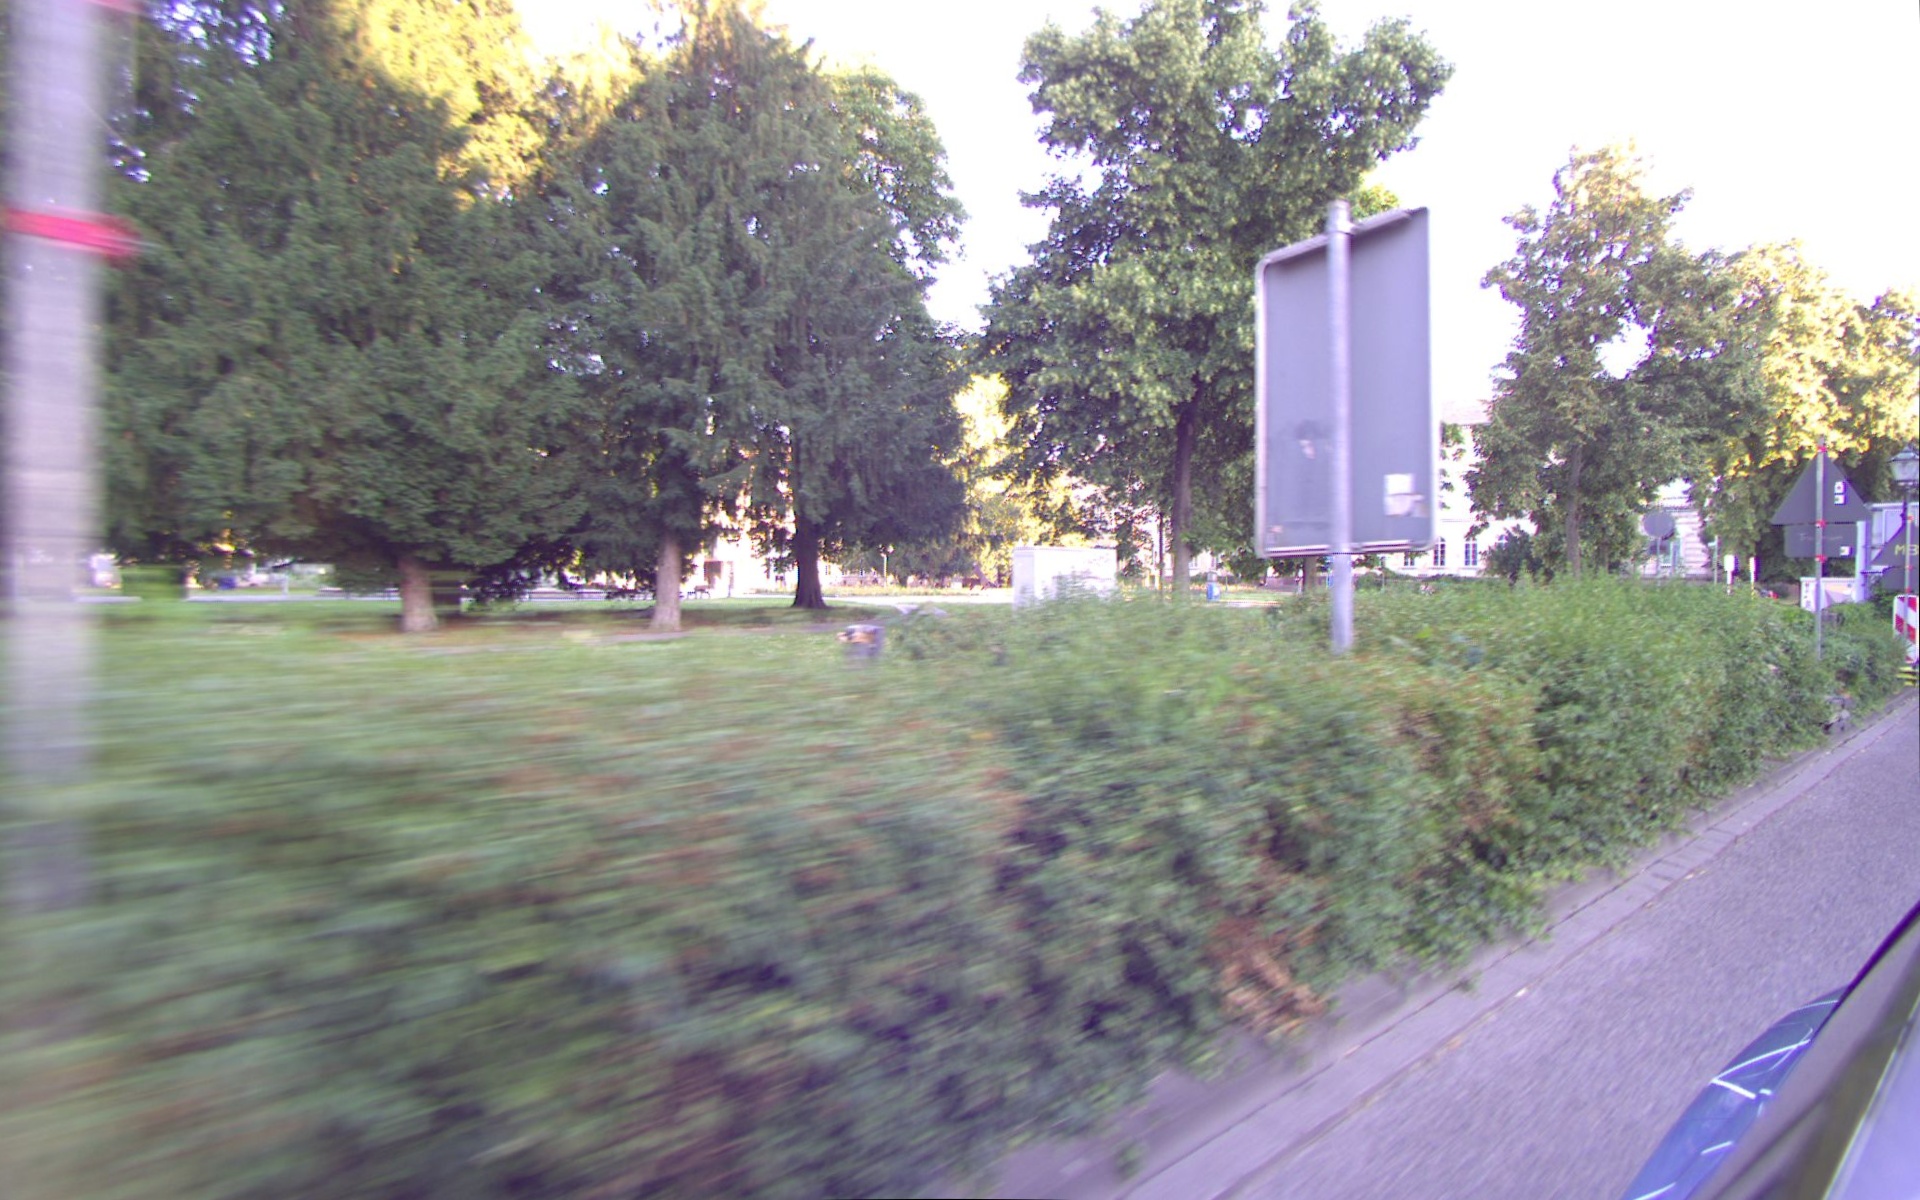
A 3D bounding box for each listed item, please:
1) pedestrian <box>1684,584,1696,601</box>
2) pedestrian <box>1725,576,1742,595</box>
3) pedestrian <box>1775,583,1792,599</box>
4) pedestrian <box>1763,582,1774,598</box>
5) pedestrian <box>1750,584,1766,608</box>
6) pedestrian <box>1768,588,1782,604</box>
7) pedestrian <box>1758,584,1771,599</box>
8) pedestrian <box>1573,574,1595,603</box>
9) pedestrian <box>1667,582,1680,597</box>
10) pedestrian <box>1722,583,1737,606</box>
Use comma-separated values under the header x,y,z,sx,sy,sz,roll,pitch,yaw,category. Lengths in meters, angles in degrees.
x,y,z,sx,sy,sz,roll,pitch,yaw,category
52.238,-0.518,72.422,0.594,1.217,0.394,1,1,8,pedestrian
59.664,-1.102,78.029,0.742,1.462,0.815,1,1,14,pedestrian
56.868,-0.615,69.866,0.785,1.064,0.394,1,1,13,pedestrian
56.631,-0.697,70.867,0.390,1.064,0.601,1,1,17,pedestrian
42.003,-0.209,53.276,0.606,1.219,0.657,1,1,43,pedestrian
56.048,-0.273,69.624,0.595,1.064,0.394,1,1,13,pedestrian
55.912,-0.590,70.338,0.595,1.064,0.393,1,1,16,pedestrian
35.540,-0.655,57.647,0.745,1.646,0.857,0,1,-45,pedestrian
51.216,-0.760,72.632,0.593,1.123,0.395,1,1,4,pedestrian
41.067,-0.318,53.988,0.526,1.219,0.955,1,1,42,pedestrian
